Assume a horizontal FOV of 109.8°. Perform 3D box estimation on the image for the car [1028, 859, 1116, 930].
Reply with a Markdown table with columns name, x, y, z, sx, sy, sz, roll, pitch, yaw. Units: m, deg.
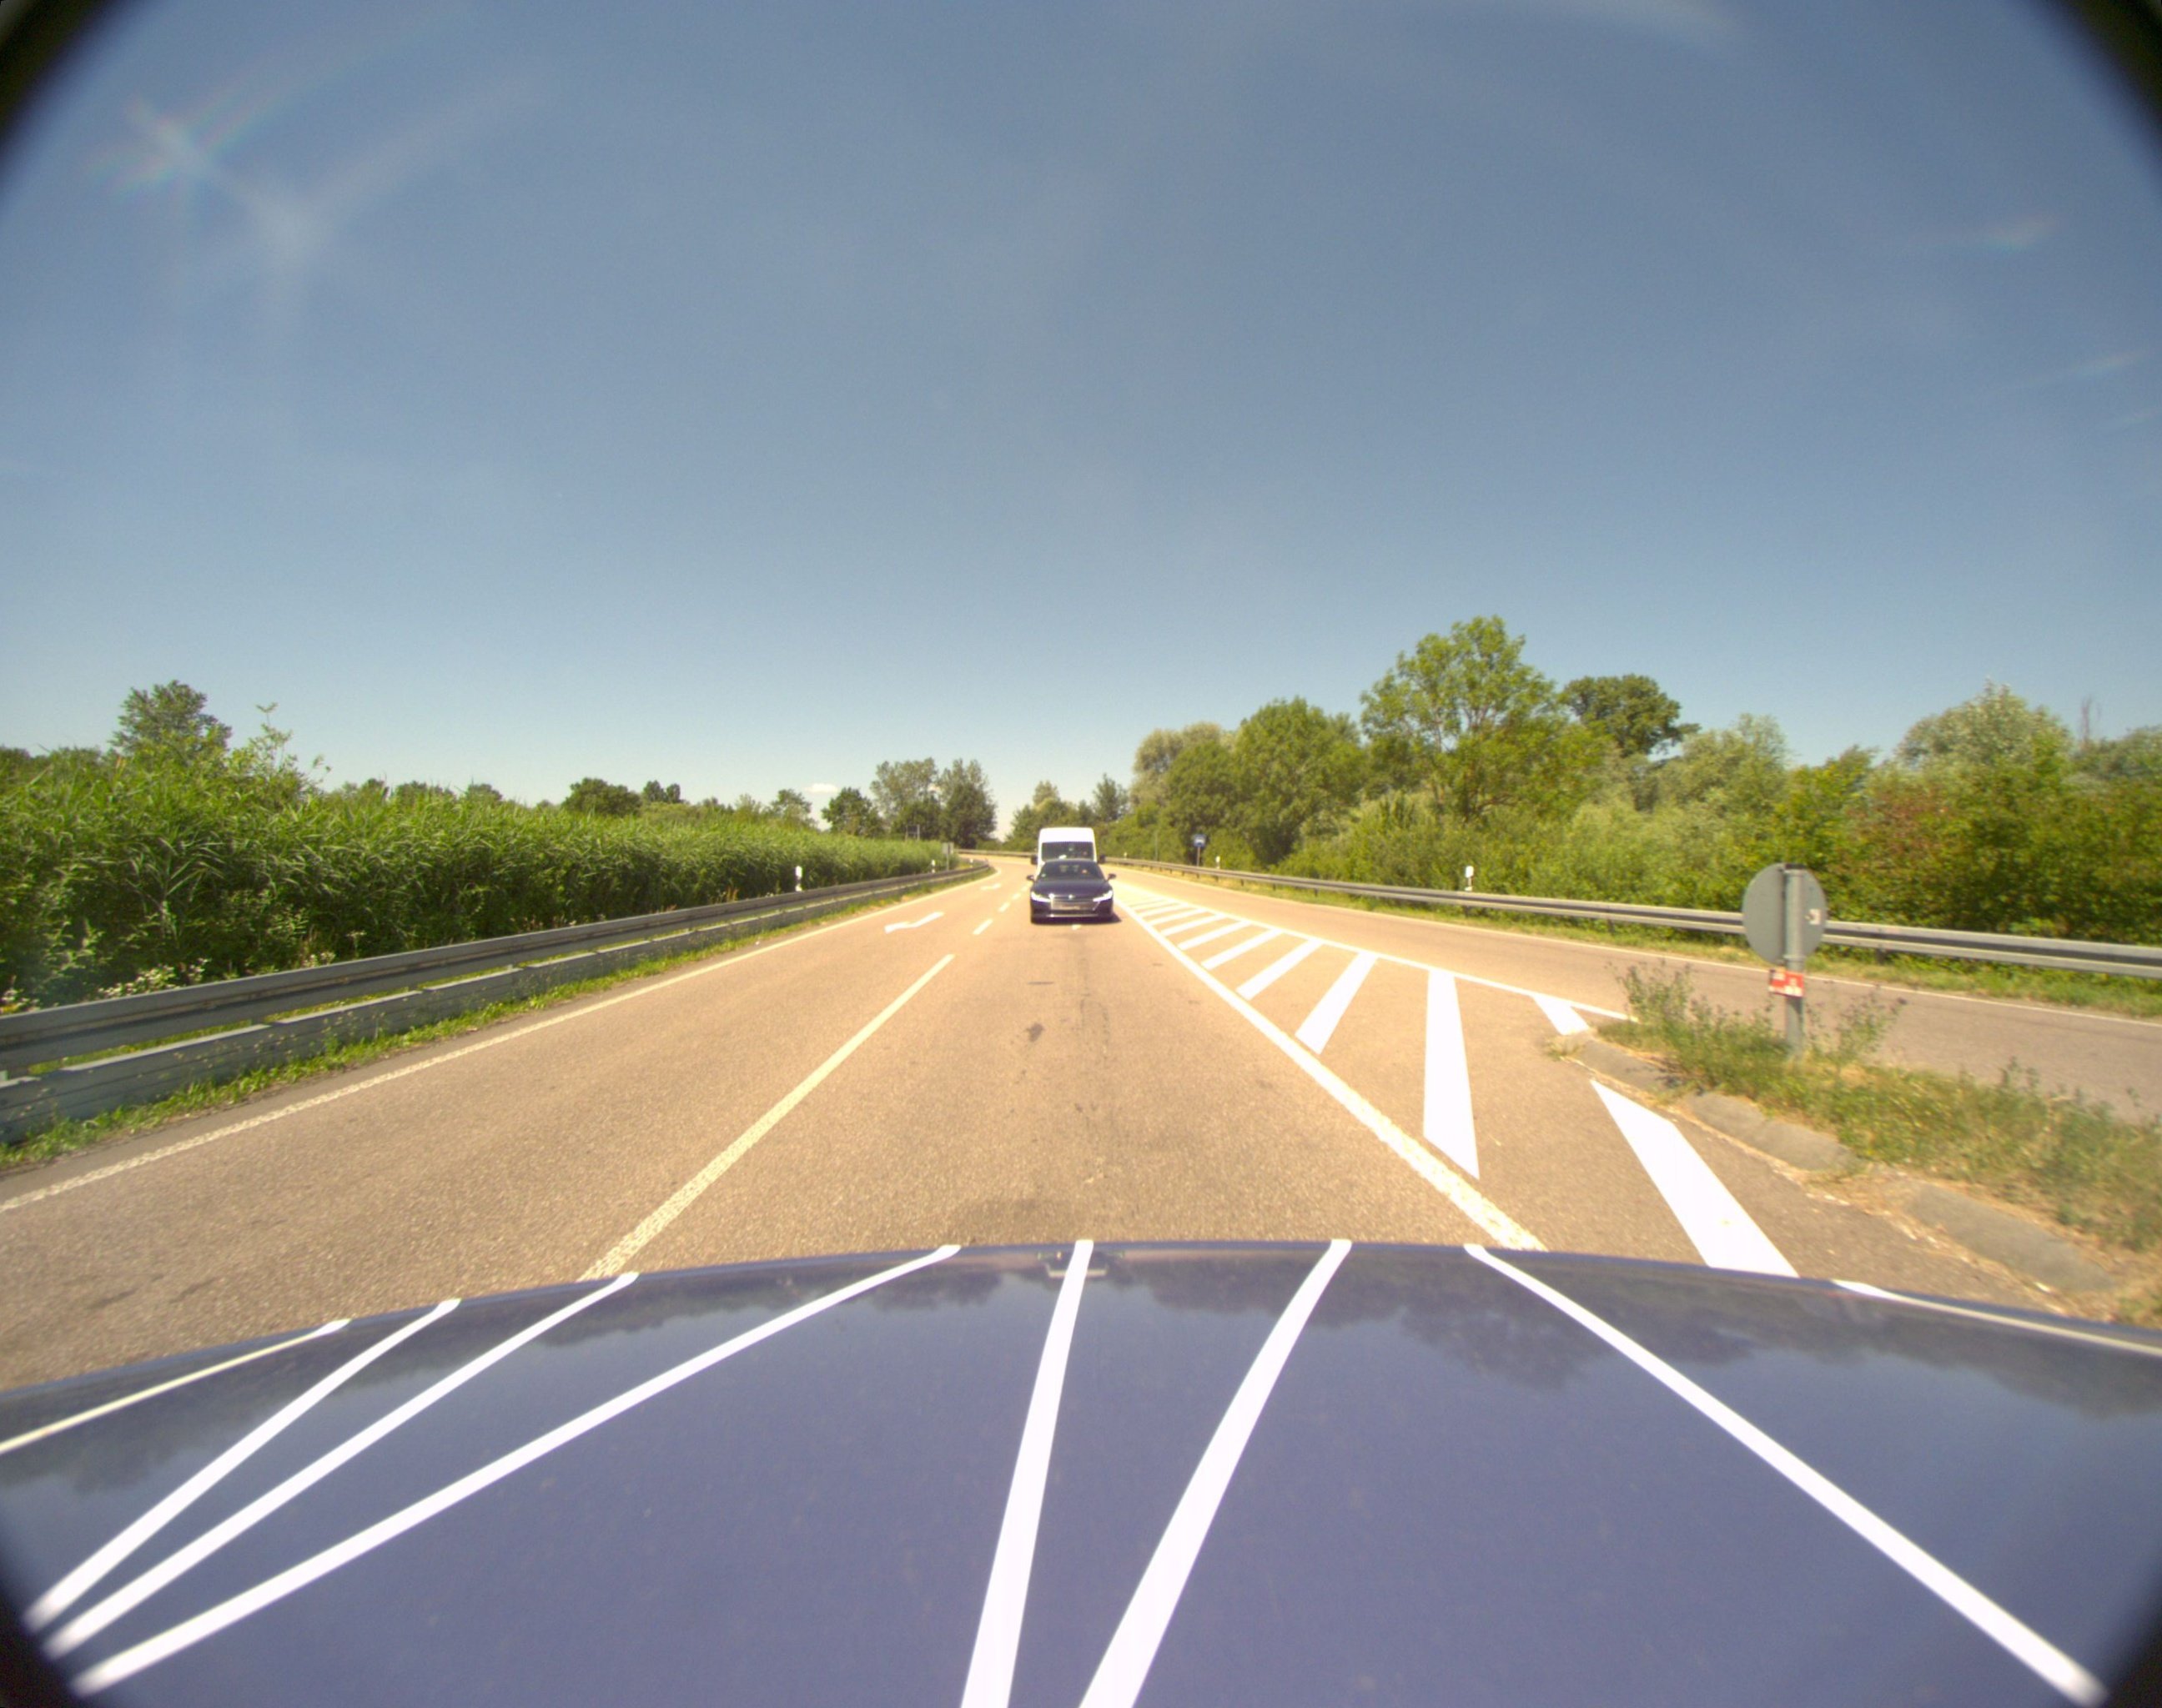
| name | x | y | z | sx | sy | sz | roll | pitch | yaw |
| --- | --- | --- | --- | --- | --- | --- | --- | --- | --- |
| car | -0.193 | 0.877 | 18.257 | 1.847 | 1.415 | 4.562 | -1 | 0 | 0 |

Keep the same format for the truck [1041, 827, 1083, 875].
| name | x | y | z | sx | sy | sz | roll | pitch | yaw |
| --- | --- | --- | --- | --- | --- | --- | --- | --- | --- |
| truck | -1.510 | -0.212 | 55.312 | 2.694 | 3.177 | 9.173 | 0 | 0 | -4 |

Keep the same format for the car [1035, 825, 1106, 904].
| name | x | y | z | sx | sy | sz | roll | pitch | yaw |
| --- | --- | --- | --- | --- | --- | --- | --- | --- | --- |
| car | -0.351 | 0.321 | 27.234 | 2.228 | 2.480 | 5.982 | -1 | 0 | 0 |
